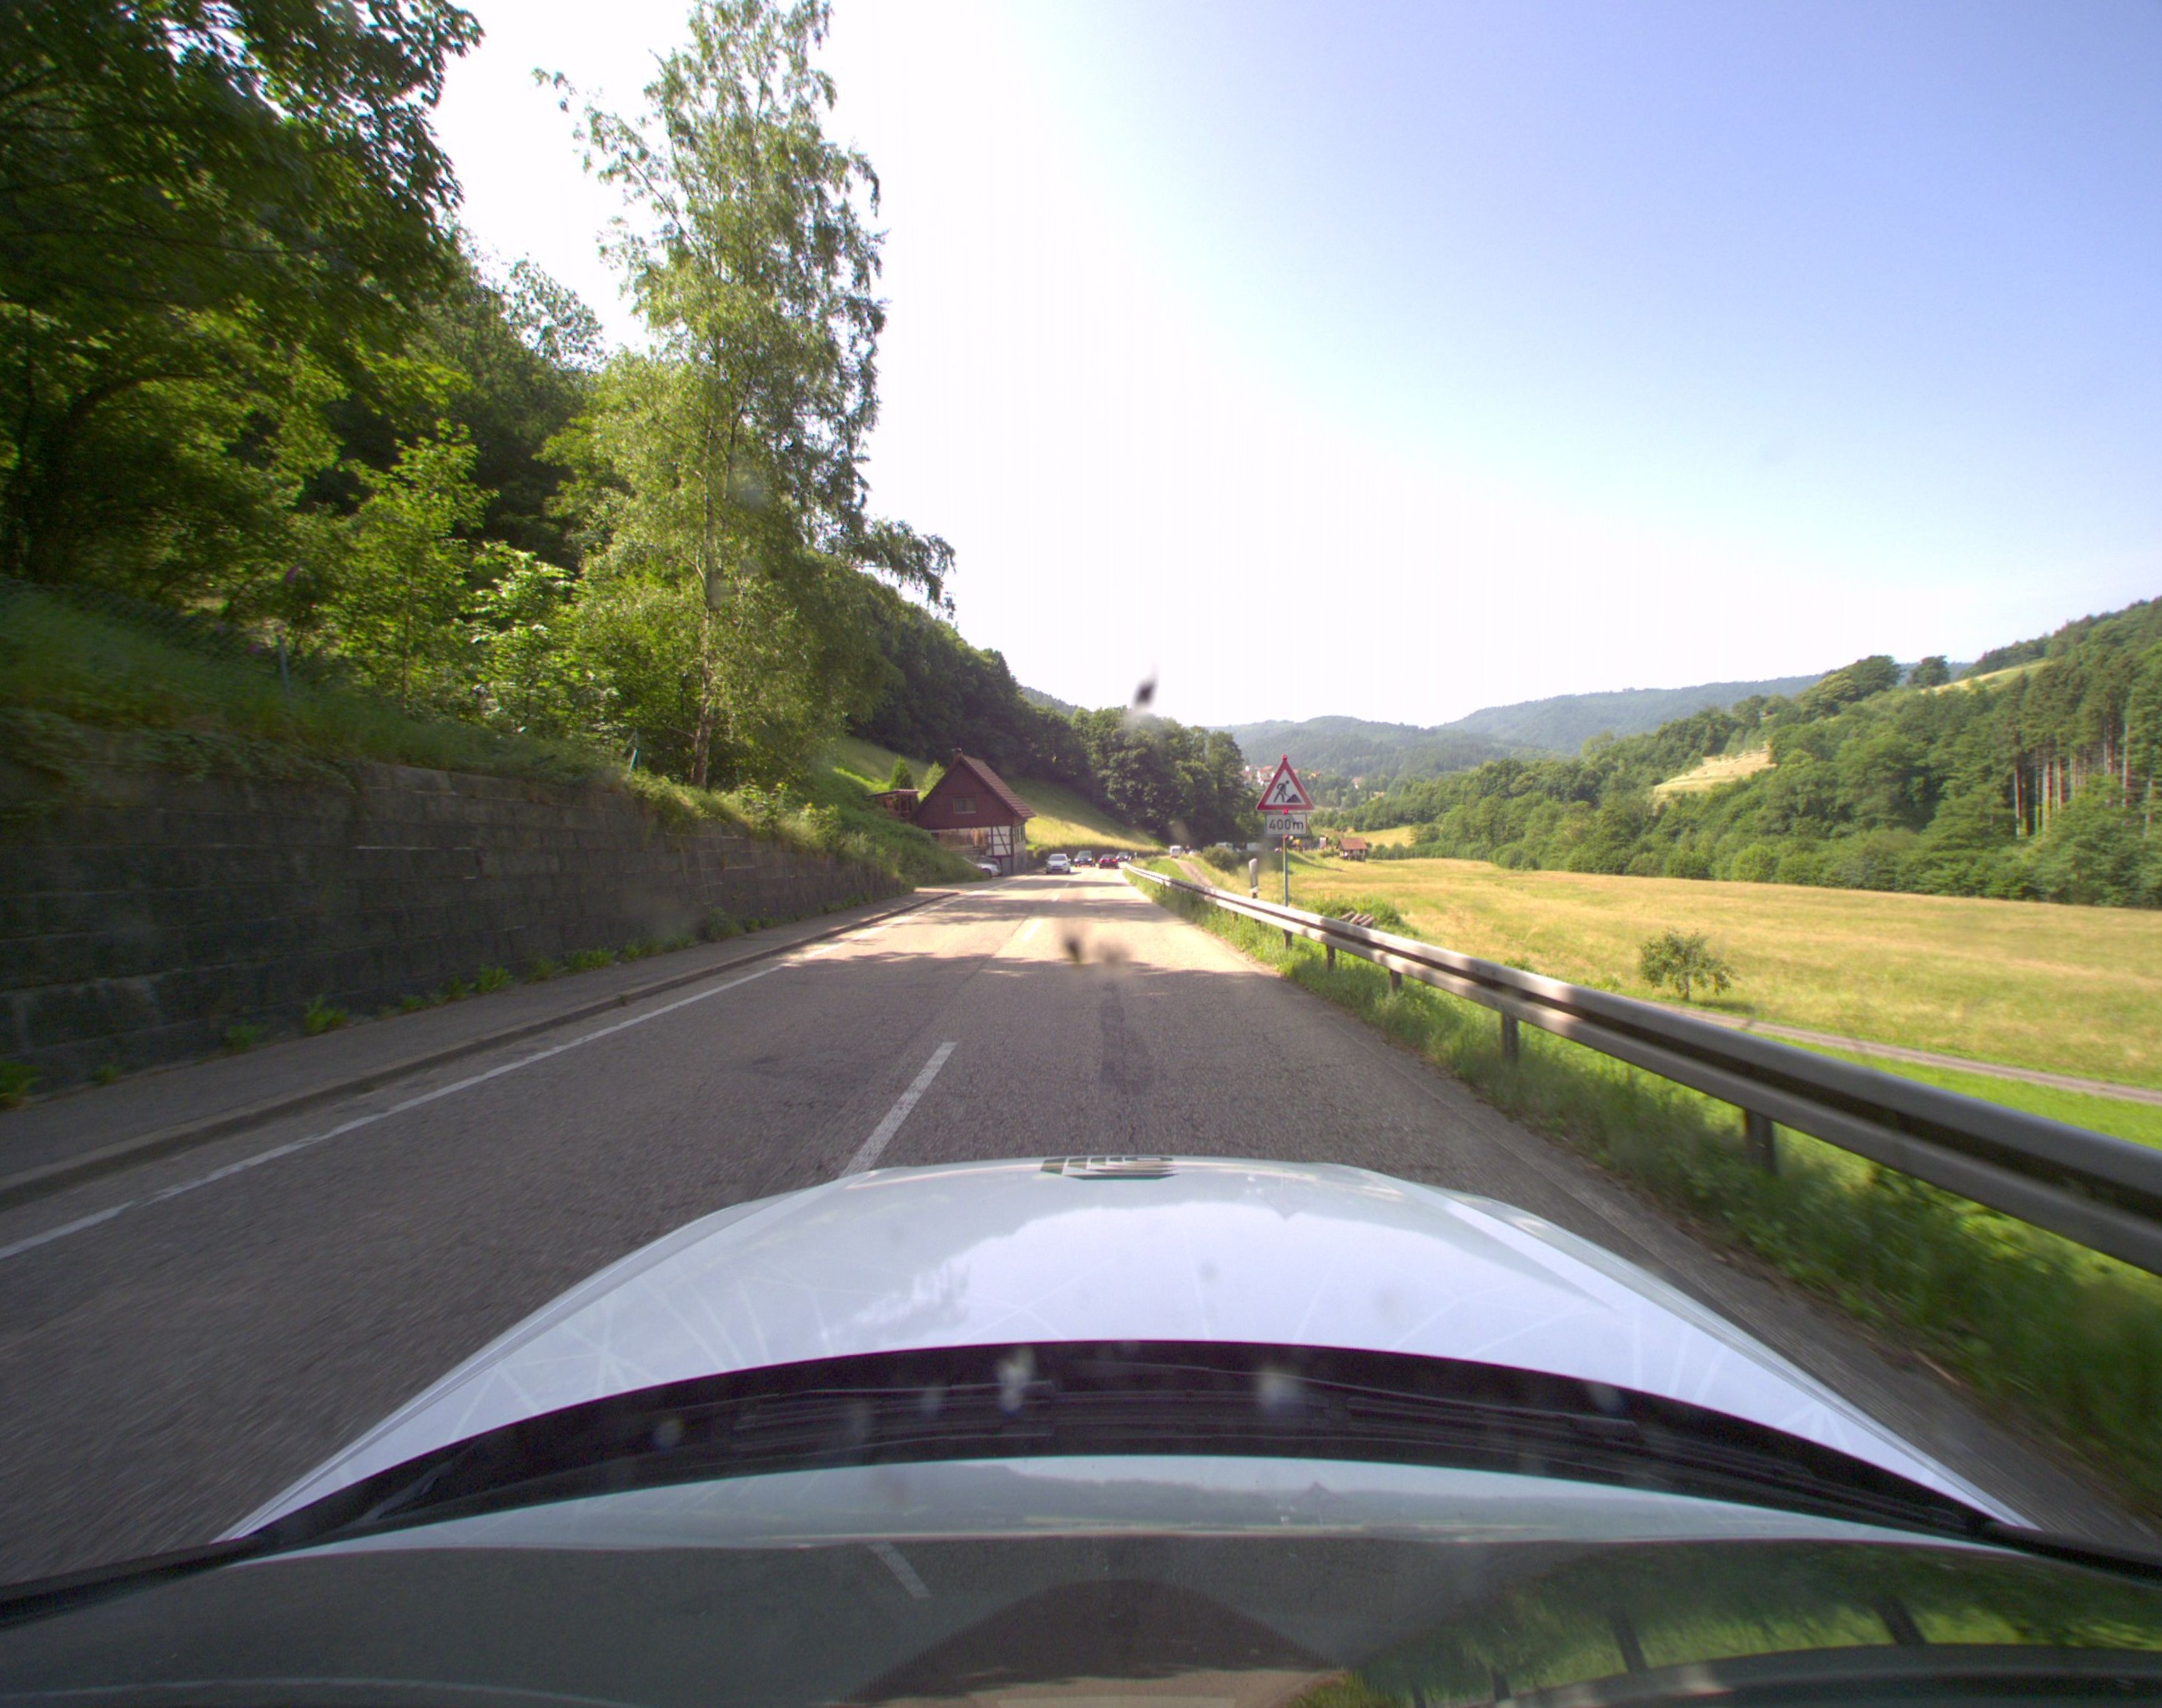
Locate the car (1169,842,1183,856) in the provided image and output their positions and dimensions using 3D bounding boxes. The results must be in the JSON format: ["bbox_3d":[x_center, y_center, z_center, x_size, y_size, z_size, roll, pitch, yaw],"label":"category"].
[{"bbox_3d":[16.952,-0.867,145.030,1.981,2.352,4.930,1,2,11],"label":"car"}]

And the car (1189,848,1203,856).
[{"bbox_3d":[23.298,-0.381,165.169,1.977,1.484,4.022,3,2,21],"label":"car"}]

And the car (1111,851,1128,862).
[{"bbox_3d":[5.392,0.289,112.999,1.753,1.396,4.158,0,1,11],"label":"car"}]

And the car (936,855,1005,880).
[{"bbox_3d":[-6.644,0.792,49.240,3.799,1.416,1.860,-1,1,4],"label":"car"}]

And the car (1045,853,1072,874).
[{"bbox_3d":[-1.624,0.722,61.014,1.771,1.437,4.001,-2,-1,1],"label":"car"}]

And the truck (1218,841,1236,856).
[{"bbox_3d":[33.202,-1.260,185.020,2.767,2.997,6.905,3,2,22],"label":"truck"}]

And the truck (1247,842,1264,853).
[{"bbox_3d":[44.106,-1.639,205.606,2.216,2.804,6.270,1,0,30],"label":"truck"}]

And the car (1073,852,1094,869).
[{"bbox_3d":[0.288,0.664,84.824,1.881,1.645,4.261,-1,0,3],"label":"car"}]

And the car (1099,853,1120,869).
[{"bbox_3d":[2.735,0.607,77.070,1.762,1.335,3.773,0,2,5],"label":"car"}]

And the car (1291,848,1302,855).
[{"bbox_3d":[61.817,-0.637,233.576,1.975,1.925,4.025,3,1,33],"label":"car"}]

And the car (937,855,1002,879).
[{"bbox_3d":[-7.126,0.819,52.193,3.799,1.432,1.866,-1,1,4],"label":"car"}]
